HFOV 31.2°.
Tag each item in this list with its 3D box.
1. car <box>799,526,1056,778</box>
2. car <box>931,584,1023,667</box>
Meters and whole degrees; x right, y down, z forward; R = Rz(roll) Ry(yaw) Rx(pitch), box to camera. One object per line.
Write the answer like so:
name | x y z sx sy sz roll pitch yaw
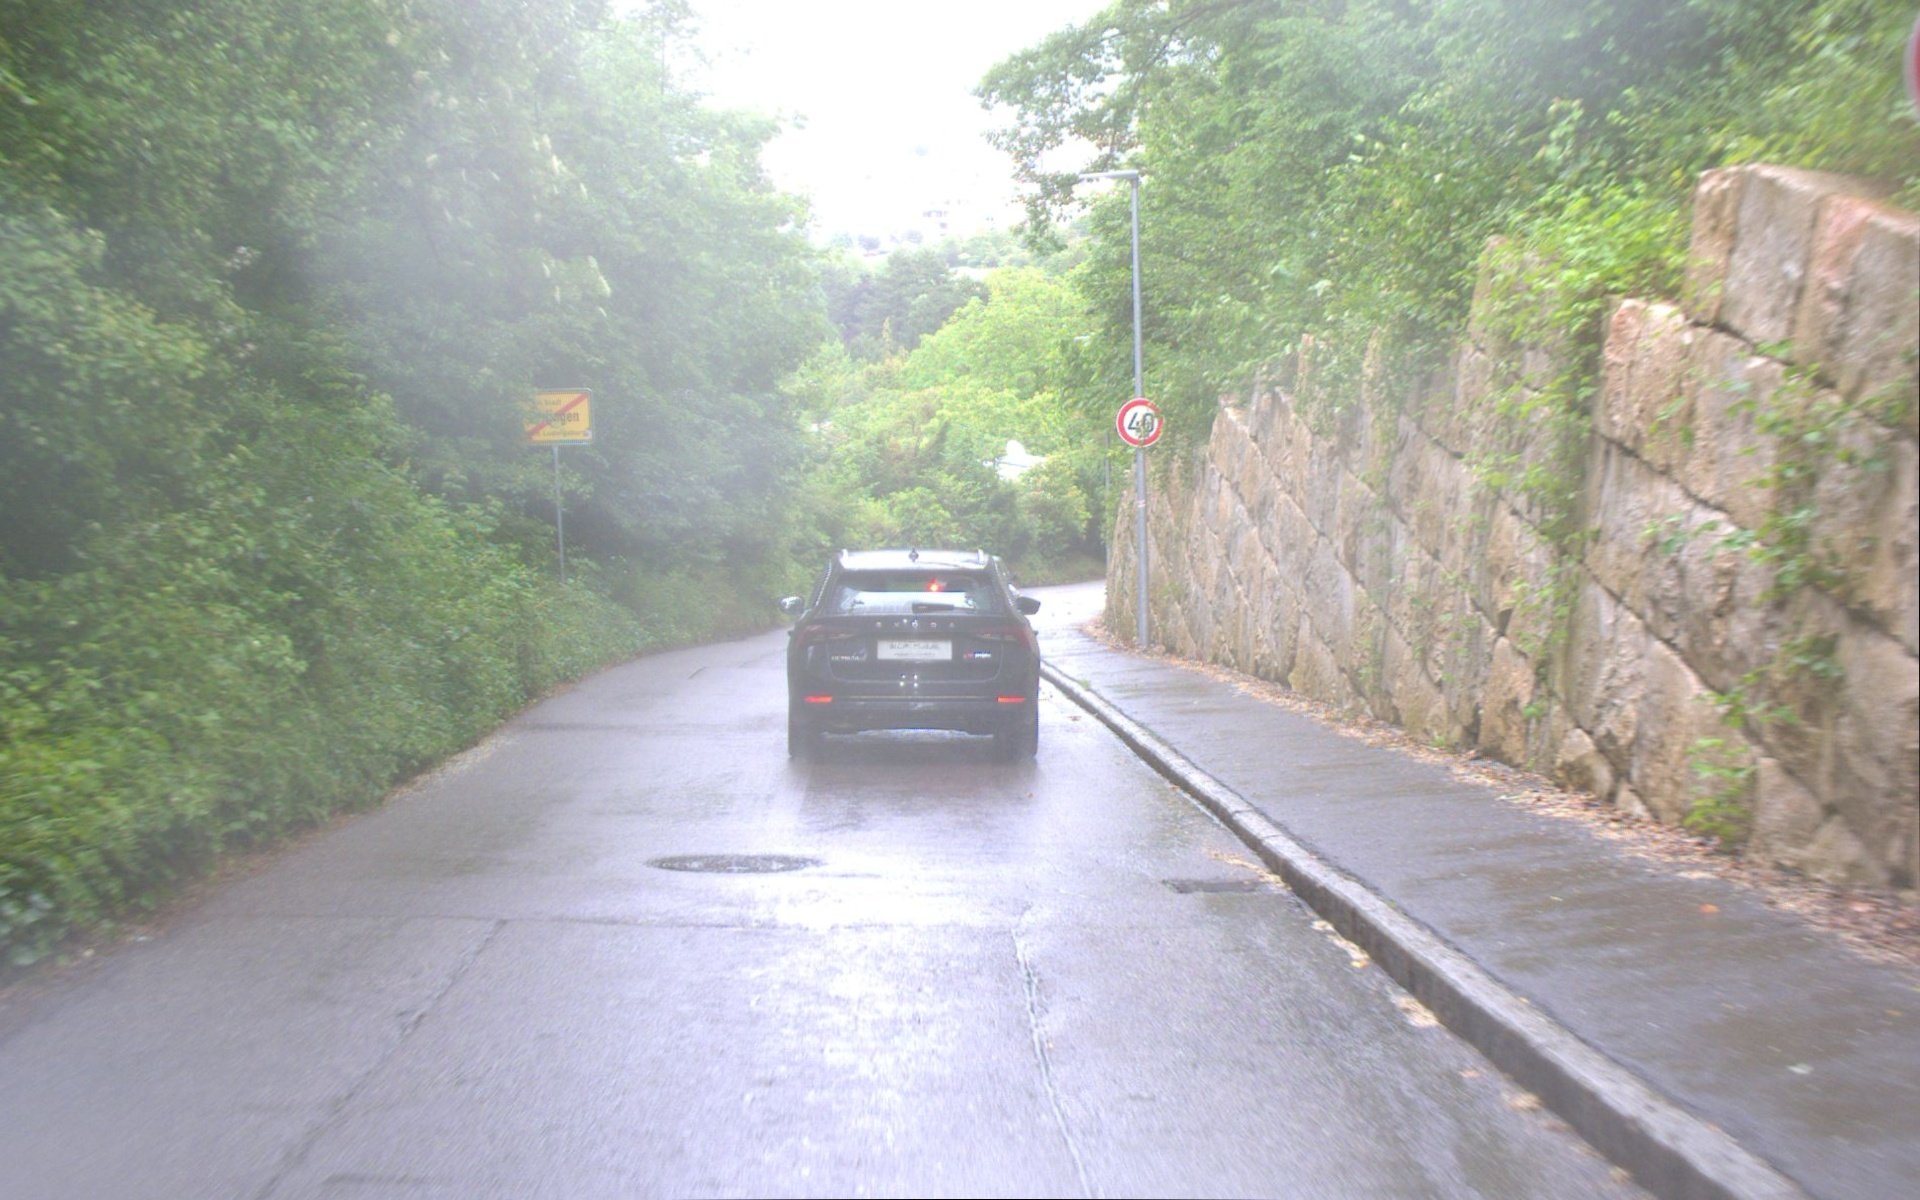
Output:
car | -0.308 0.306 24.941 1.699 1.445 4.001 -1 4 -3
car | 0.346 0.549 77.352 1.863 1.737 4.000 1 1 -2
